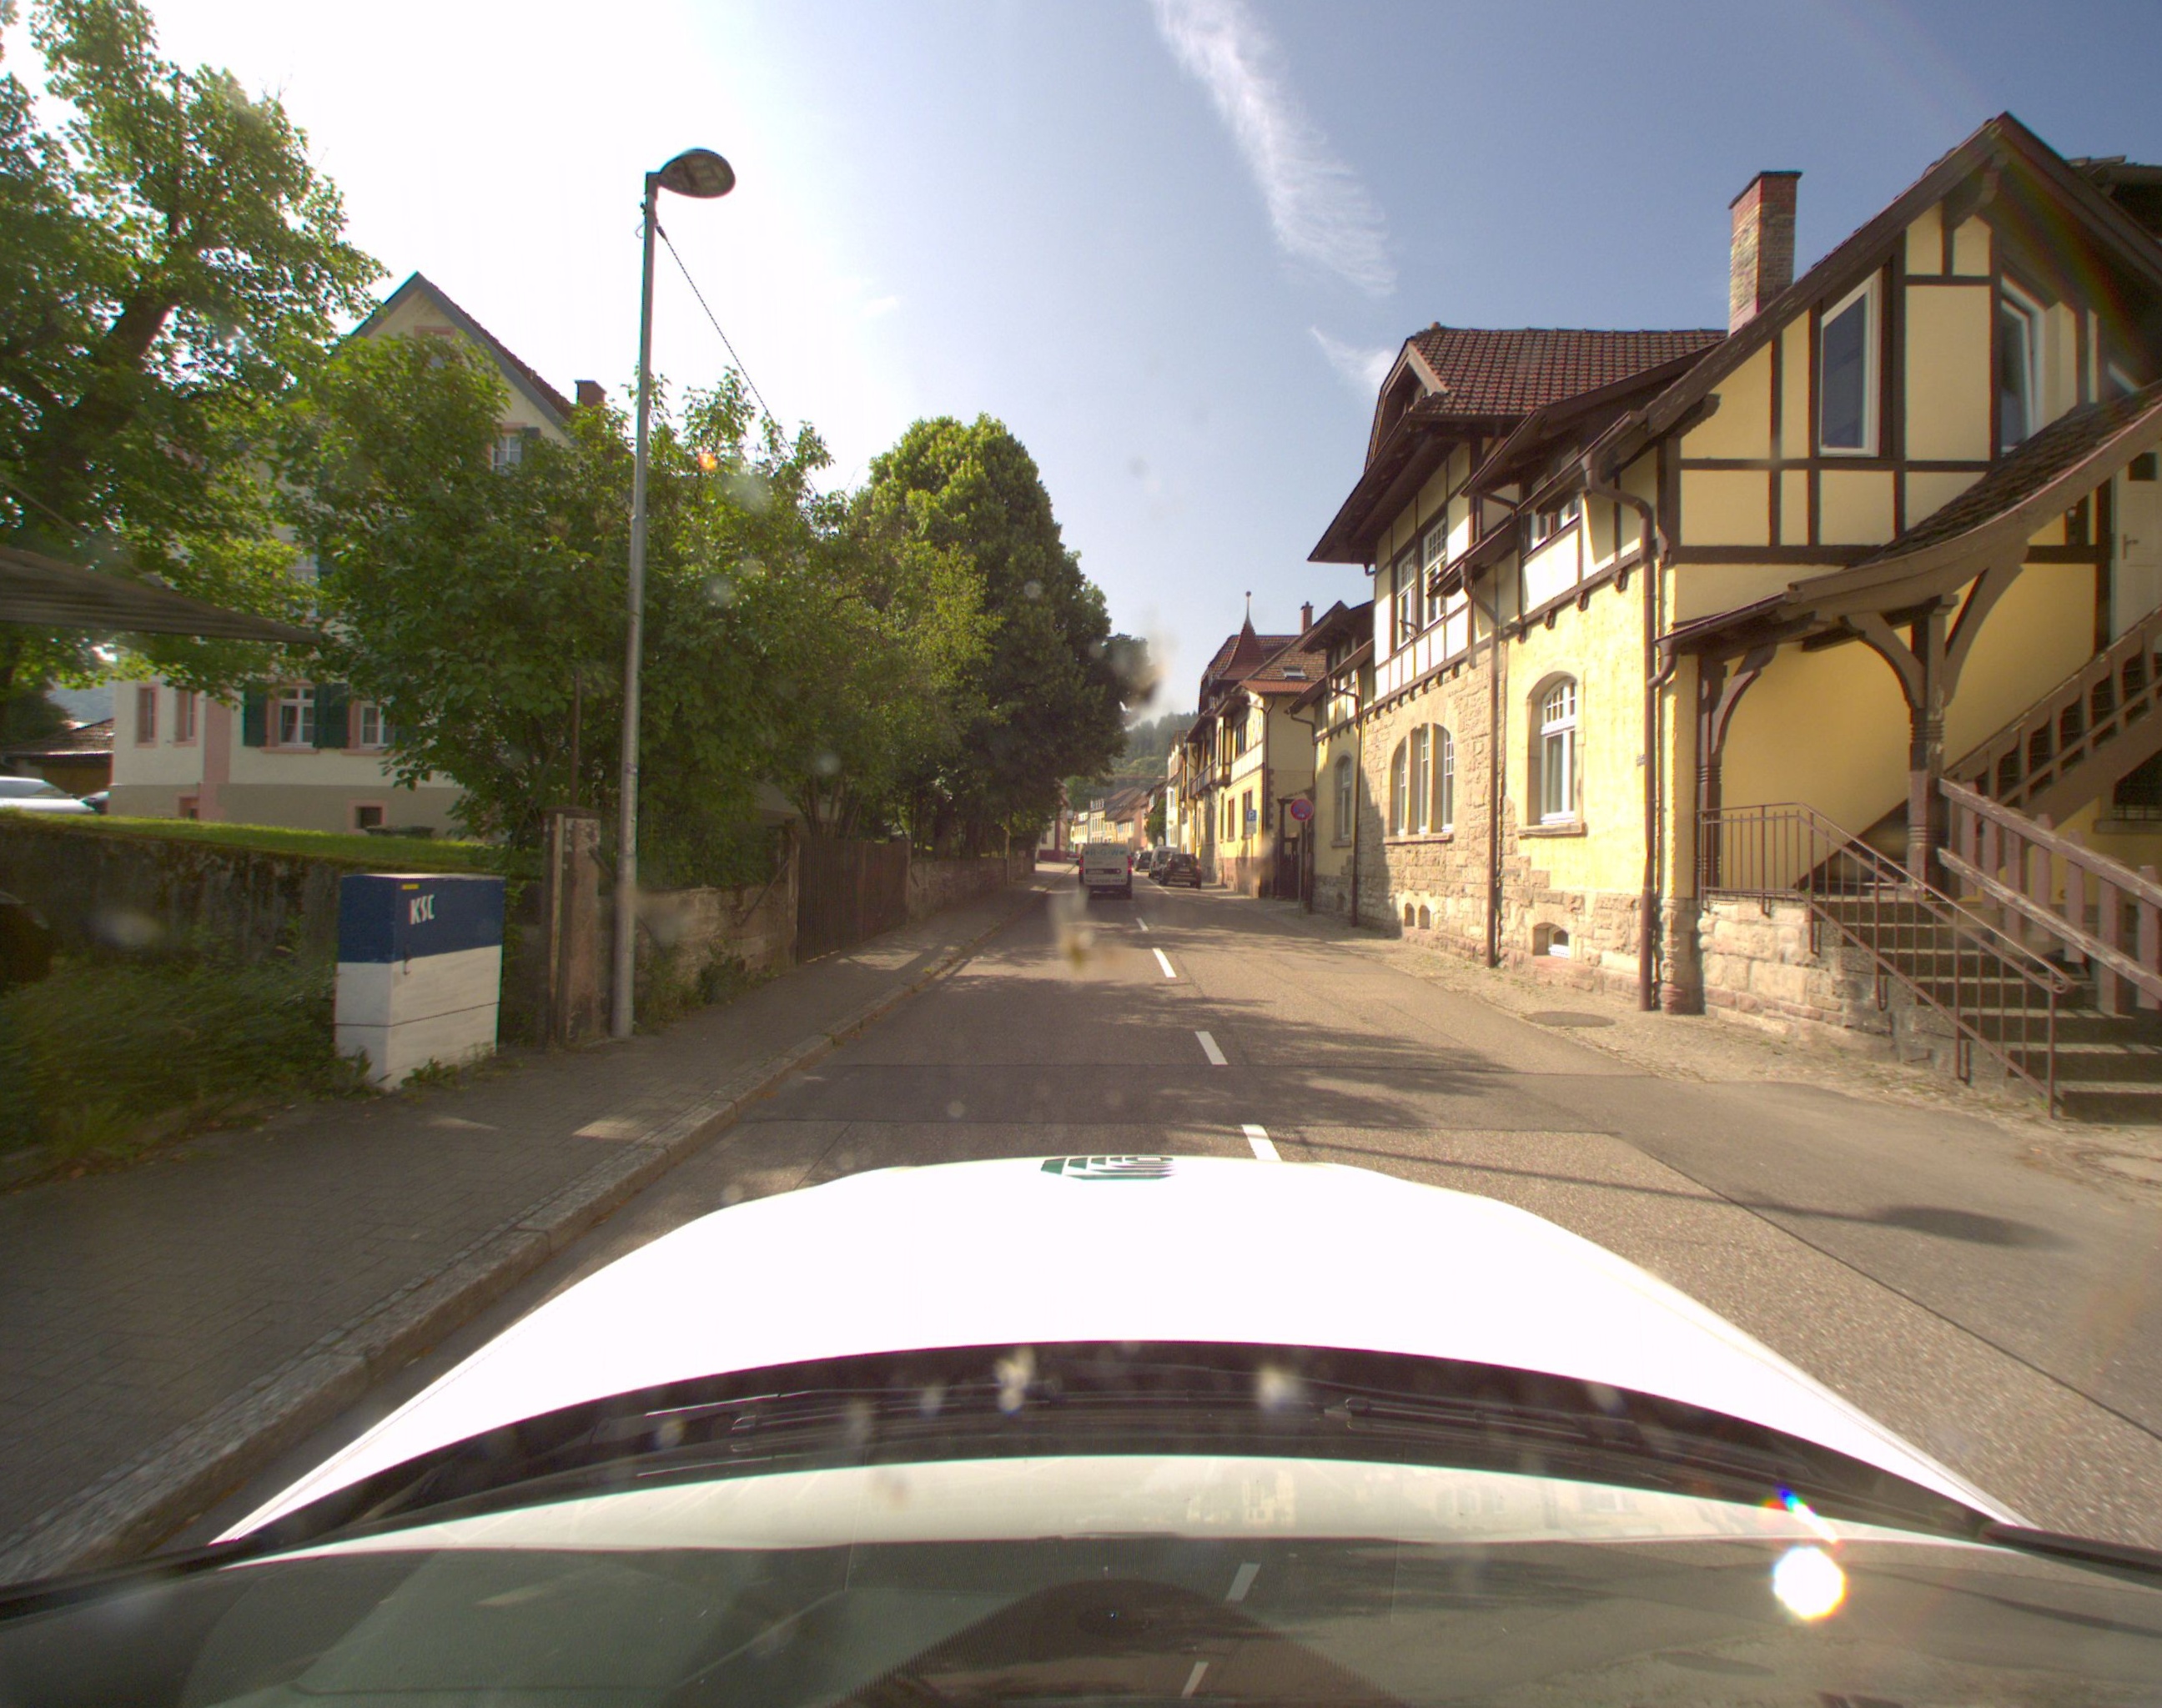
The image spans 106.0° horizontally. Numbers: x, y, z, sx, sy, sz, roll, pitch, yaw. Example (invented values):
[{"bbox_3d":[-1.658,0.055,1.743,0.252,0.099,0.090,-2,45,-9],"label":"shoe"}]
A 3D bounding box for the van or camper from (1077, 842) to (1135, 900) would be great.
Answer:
[{"bbox_3d":[0.828,0.527,28.290,1.822,1.844,4.188,-1,1,0],"label":"van or camper"}]

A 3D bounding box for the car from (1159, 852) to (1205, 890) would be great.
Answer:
[{"bbox_3d":[4.796,0.771,39.126,1.804,1.596,3.928,3,0,2],"label":"car"}]

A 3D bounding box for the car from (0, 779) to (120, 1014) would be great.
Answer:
[{"bbox_3d":[-7.548,0.234,3.440,1.609,1.462,4.396,3,1,1],"label":"car"}]

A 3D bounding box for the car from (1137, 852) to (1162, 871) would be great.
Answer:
[{"bbox_3d":[5.469,0.570,65.671,1.664,1.508,3.999,0,0,0],"label":"car"}]

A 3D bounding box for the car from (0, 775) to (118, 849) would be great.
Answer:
[{"bbox_3d":[-24.217,-1.020,18.449,3.954,1.505,1.822,4,0,21],"label":"car"}]

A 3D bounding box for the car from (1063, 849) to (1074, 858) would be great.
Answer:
[{"bbox_3d":[-2.556,-0.069,165.438,1.771,1.799,3.986,1,0,-10],"label":"car"}]

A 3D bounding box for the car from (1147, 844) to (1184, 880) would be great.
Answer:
[{"bbox_3d":[5.093,0.485,49.425,1.864,2.013,4.001,2,0,1],"label":"car"}]

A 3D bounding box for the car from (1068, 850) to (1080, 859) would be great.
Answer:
[{"bbox_3d":[-1.362,0.075,158.888,1.771,1.799,3.986,1,0,-10],"label":"car"}]
